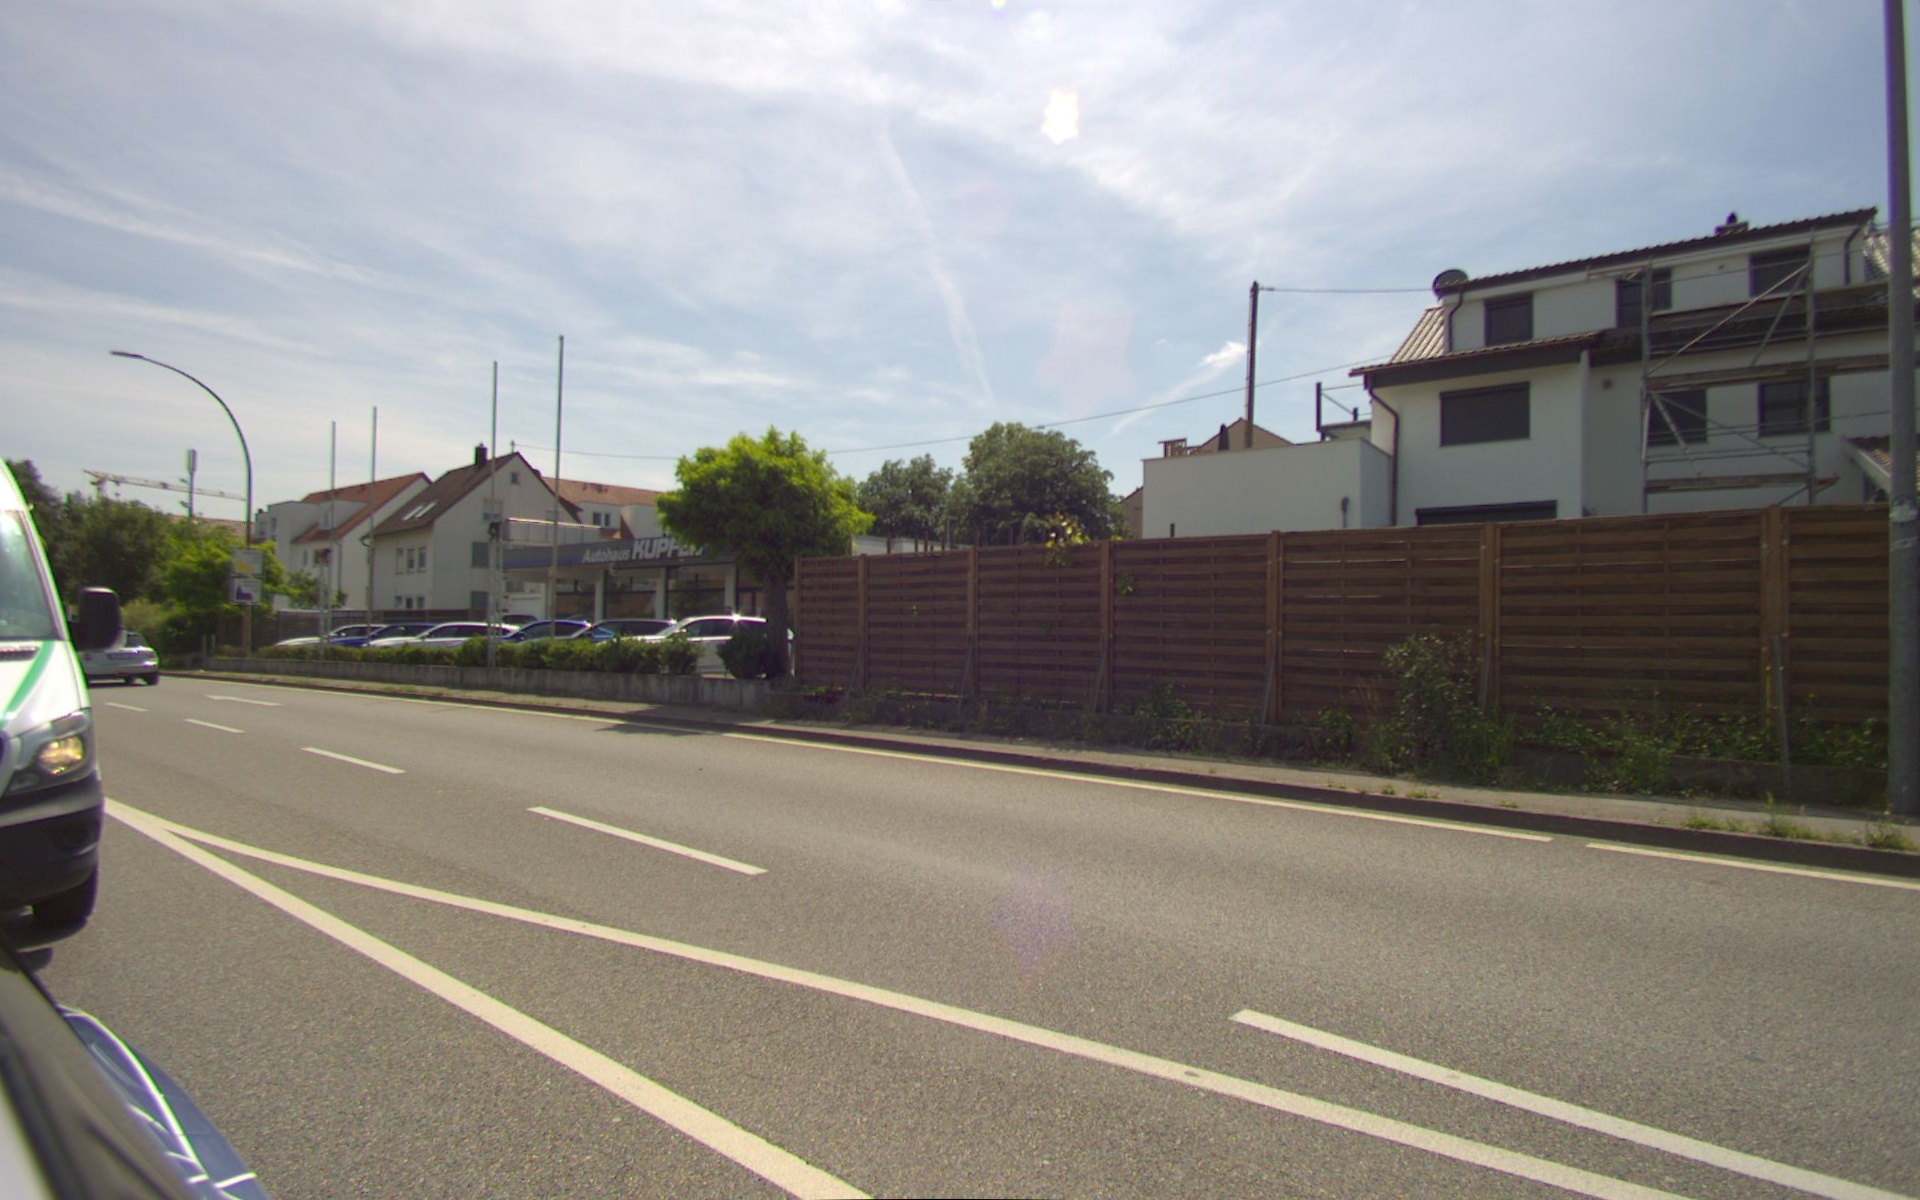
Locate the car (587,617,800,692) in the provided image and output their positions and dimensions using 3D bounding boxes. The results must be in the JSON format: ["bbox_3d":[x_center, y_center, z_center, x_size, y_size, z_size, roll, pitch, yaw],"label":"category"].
[{"bbox_3d":[-5.882,1.148,22.366,4.264,1.471,1.861,0,-1,-26],"label":"car"}]

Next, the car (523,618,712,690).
[{"bbox_3d":[-8.456,1.281,25.024,4.187,1.557,1.856,-1,-1,-27],"label":"car"}]

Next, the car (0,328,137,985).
[{"bbox_3d":[-6.333,0.292,5.406,5.628,2.619,1.953,-2,-1,40],"label":"car"}]

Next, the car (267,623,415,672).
[{"bbox_3d":[-21.493,1.625,35.343,4.192,1.541,2.006,-1,-1,-24],"label":"car"}]

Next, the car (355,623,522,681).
[{"bbox_3d":[-15.278,1.492,29.907,4.238,1.530,2.006,-1,-1,-23],"label":"car"}]

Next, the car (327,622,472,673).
[{"bbox_3d":[-18.124,1.516,32.936,3.930,1.475,2.006,-1,-1,-24],"label":"car"}]

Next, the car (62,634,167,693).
[{"bbox_3d":[-22.329,1.626,26.701,3.558,1.392,1.605,-2,-1,41],"label":"car"}]

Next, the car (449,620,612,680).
[{"bbox_3d":[-11.612,1.312,27.414,3.931,1.453,1.860,-1,-1,-25],"label":"car"}]
